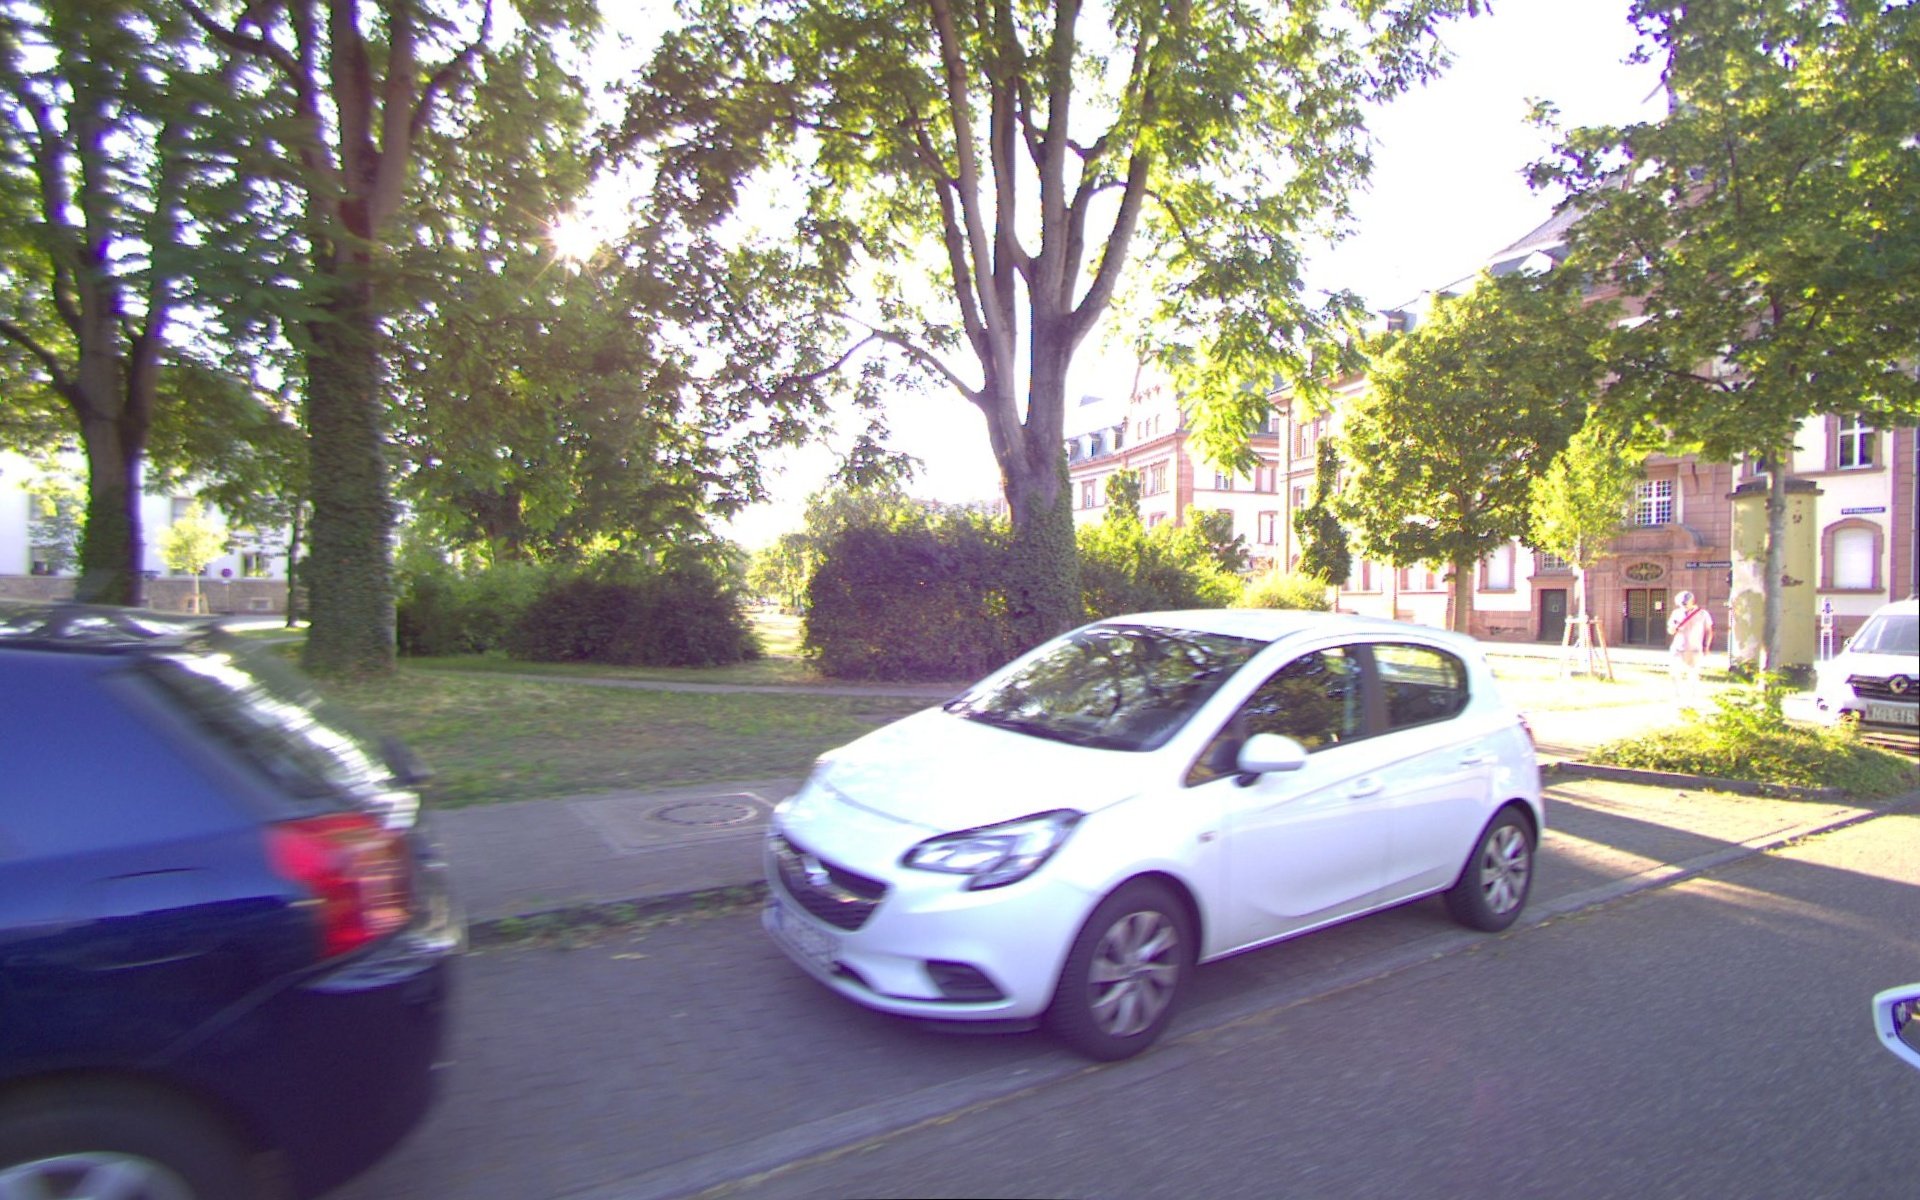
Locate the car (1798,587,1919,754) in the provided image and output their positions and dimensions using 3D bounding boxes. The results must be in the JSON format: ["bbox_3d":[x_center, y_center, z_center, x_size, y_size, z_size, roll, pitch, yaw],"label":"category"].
[{"bbox_3d":[12.459,0.819,12.648,4.506,1.865,1.770,1,0,-35],"label":"car"}]

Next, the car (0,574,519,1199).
[{"bbox_3d":[-2.986,0.691,1.772,3.896,1.514,1.544,1,0,-31],"label":"car"}]

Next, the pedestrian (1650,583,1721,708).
[{"bbox_3d":[10.928,0.667,15.122,0.937,1.808,0.595,1,0,-37],"label":"pedestrian"}]

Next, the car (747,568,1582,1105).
[{"bbox_3d":[1.125,0.702,4.643,3.826,1.546,1.582,1,0,-35],"label":"car"}]
